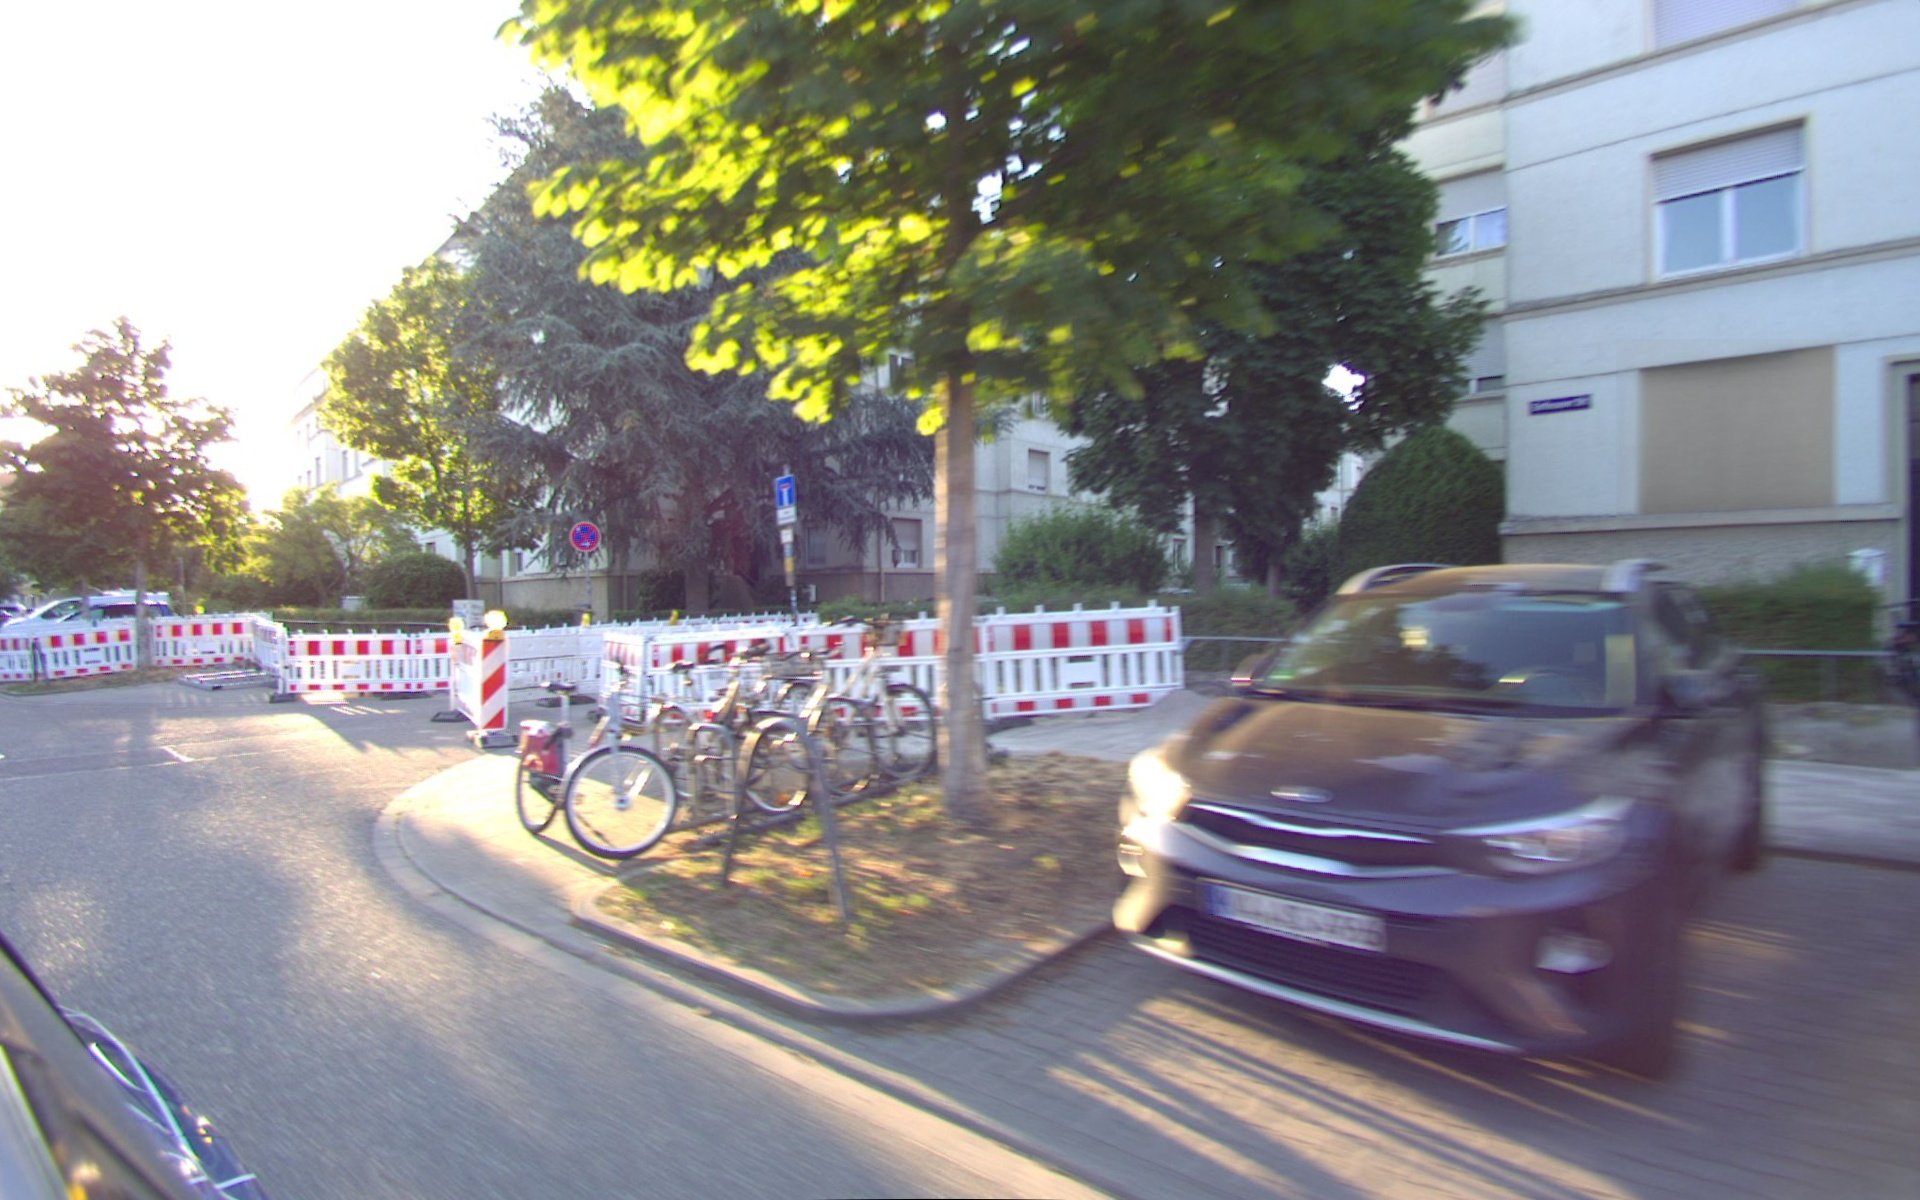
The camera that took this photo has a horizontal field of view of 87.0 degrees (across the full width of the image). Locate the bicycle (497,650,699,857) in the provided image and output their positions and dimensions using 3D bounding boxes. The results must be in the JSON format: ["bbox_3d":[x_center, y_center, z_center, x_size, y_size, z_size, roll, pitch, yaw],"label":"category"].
[{"bbox_3d":[-2.297,0.887,6.321,1.628,1.104,0.442,-2,-1,41],"label":"bicycle"}]

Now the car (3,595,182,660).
[{"bbox_3d":[-30.702,0.924,35.913,4.720,2.085,2.001,-1,0,-44],"label":"car"}]

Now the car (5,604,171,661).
[{"bbox_3d":[-29.074,1.025,33.800,4.073,1.696,2.002,-1,0,-44],"label":"car"}]

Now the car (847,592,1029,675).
[{"bbox_3d":[-0.380,0.596,20.756,1.786,1.471,3.703,2,2,39],"label":"car"}]

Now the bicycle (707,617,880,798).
[{"bbox_3d":[-1.220,0.733,7.211,1.526,1.167,0.276,-3,-1,41],"label":"bicycle"}]

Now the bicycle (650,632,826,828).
[{"bbox_3d":[-1.516,0.807,6.747,1.526,1.167,0.276,-1,0,41],"label":"bicycle"}]

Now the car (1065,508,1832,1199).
[{"bbox_3d":[2.332,0.509,4.157,1.728,1.553,3.944,-1,2,43],"label":"car"}]

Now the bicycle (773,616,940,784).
[{"bbox_3d":[-0.815,0.706,7.666,1.526,1.167,0.276,-1,0,41],"label":"bicycle"}]
